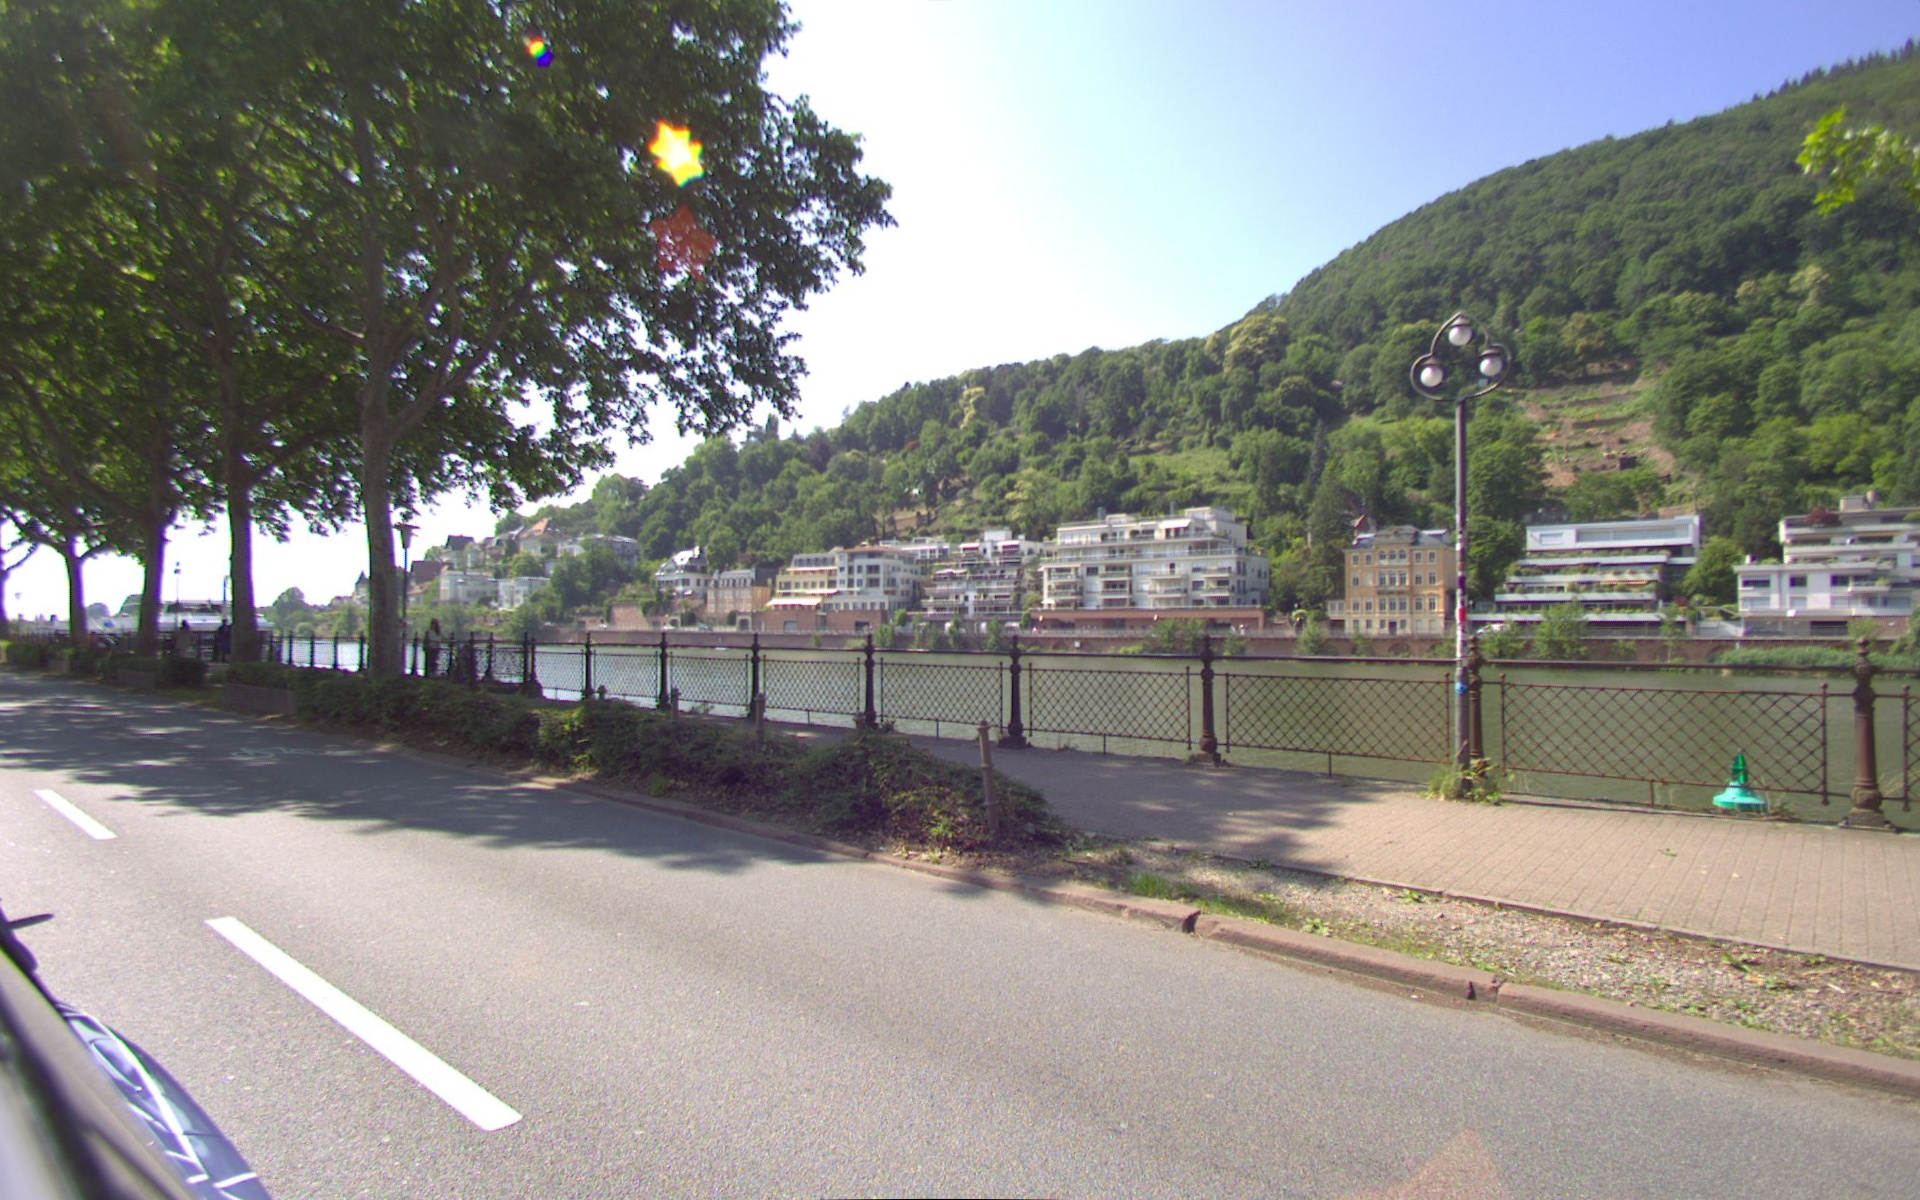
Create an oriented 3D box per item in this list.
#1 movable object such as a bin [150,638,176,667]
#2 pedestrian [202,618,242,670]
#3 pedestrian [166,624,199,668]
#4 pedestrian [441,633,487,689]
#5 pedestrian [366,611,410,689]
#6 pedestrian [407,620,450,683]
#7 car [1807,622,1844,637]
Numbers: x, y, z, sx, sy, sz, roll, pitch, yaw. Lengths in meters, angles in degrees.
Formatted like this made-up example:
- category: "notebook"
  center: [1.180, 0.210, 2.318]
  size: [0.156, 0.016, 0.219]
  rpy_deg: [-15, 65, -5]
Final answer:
- category: "movable object such as a bin"
  center: [-30.699, 2.014, 38.999]
  size: [0.783, 1.057, 0.694]
  rpy_deg: [-1, 0, 44]
- category: "pedestrian"
  center: [-29.468, 1.738, 40.428]
  size: [1.032, 2.029, 1.038]
  rpy_deg: [-1, 0, -19]
- category: "pedestrian"
  center: [-29.778, 1.750, 38.765]
  size: [0.885, 1.647, 1.060]
  rpy_deg: [0, 0, -44]
- category: "pedestrian"
  center: [-12.635, 1.544, 25.778]
  size: [0.770, 1.398, 0.758]
  rpy_deg: [-2, -3, 40]
- category: "pedestrian"
  center: [-14.325, 1.240, 25.335]
  size: [0.756, 1.915, 0.771]
  rpy_deg: [3, -4, -42]
- category: "pedestrian"
  center: [-15.189, 1.459, 28.922]
  size: [0.829, 1.771, 0.767]
  rpy_deg: [-2, -4, 40]
- category: "car"
  center: [125.971, 4.249, 147.324]
  size: [3.998, 2.029, 1.973]
  rpy_deg: [-4, -2, 41]
